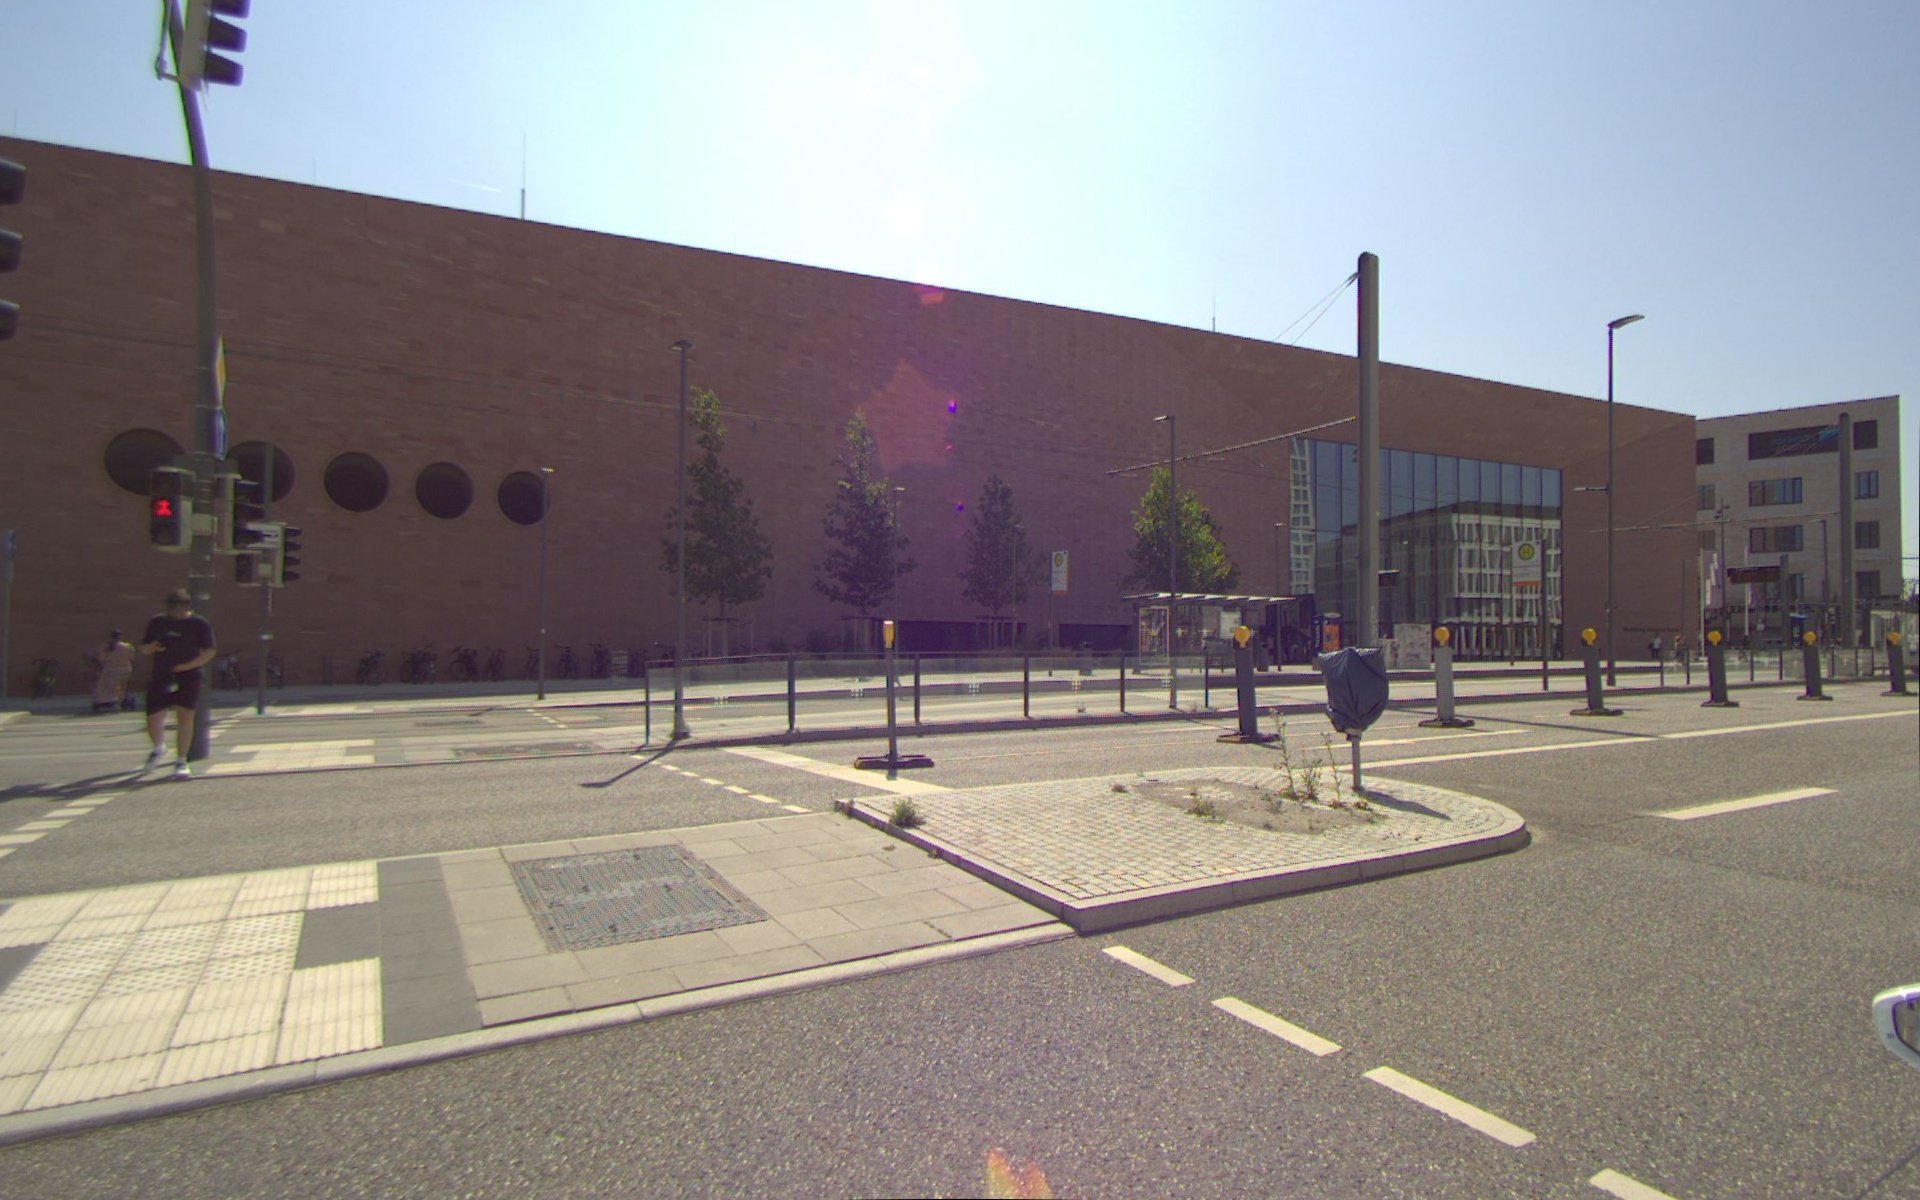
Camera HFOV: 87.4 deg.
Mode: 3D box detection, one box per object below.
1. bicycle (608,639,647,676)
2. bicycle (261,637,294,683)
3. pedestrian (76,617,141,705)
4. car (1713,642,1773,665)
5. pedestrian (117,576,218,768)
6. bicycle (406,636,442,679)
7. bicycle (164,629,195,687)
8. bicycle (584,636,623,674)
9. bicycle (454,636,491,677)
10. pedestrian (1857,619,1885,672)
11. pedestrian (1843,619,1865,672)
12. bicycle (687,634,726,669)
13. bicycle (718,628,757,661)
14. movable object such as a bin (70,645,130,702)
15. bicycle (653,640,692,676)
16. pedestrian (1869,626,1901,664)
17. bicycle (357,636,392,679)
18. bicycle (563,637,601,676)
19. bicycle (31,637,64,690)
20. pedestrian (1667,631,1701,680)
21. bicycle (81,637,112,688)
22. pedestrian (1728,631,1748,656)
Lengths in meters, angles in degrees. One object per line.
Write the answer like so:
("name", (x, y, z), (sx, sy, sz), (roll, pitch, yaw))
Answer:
("bicycle", (-11.545, 1.987, 34.828), (0.535, 1.228, 2.033), (1, -2, -41))
("bicycle", (-19.214, 1.668, 28.267), (0.535, 1.228, 2.033), (1, -2, -41))
("pedestrian", (-15.923, 1.117, 18.790), (0.919, 1.583, 0.790), (-1, -1, 41))
("car", (69.247, 4.719, 88.860), (1.785, 1.839, 3.905), (3, -2, -42))
("pedestrian", (-8.004, 0.706, 10.172), (0.652, 1.858, 0.650), (1, -1, -26))
("bicycle", (-16.391, 1.735, 30.706), (0.535, 1.228, 2.033), (1, -2, -41))
("bicycle", (-20.721, 1.514, 26.647), (0.535, 1.472, 2.033), (1, -2, -41))
("bicycle", (-12.176, 1.852, 34.267), (0.740, 1.228, 1.870), (2, -2, -37))
("bicycle", (-15.387, 1.763, 31.676), (0.535, 1.228, 2.033), (1, -2, -41))
("pedestrian", (32.418, 1.605, 35.763), (0.654, 1.844, 0.721), (0, -1, 36))
("pedestrian", (31.374, 1.579, 35.253), (0.543, 1.844, 0.598), (0, -1, 38))
("bicycle", (-9.313, 1.860, 36.920), (0.535, 1.228, 2.033), (1, -1, -41))
("bicycle", (-8.353, 1.649, 37.614), (0.535, 1.228, 2.033), (1, -2, -41))
("movable object such as a bin", (-16.551, 1.404, 19.335), (0.705, 1.045, 0.790), (-1, -1, 41))
("bicycle", (-10.342, 2.058, 36.132), (0.535, 1.228, 2.033), (1, -2, -41))
("pedestrian", (46.693, 2.270, 50.690), (0.817, 1.915, 0.974), (2, -2, -30))
("bicycle", (-17.346, 1.680, 29.740), (0.535, 1.228, 2.033), (2, -2, -41))
("bicycle", (-12.512, 1.861, 33.215), (0.535, 1.228, 2.033), (1, -2, -41))
("bicycle", (-22.537, 1.543, 24.831), (0.535, 1.228, 2.033), (1, -2, -41))
("pedestrian", (28.015, 2.132, 38.873), (0.815, 1.844, 0.807), (1, -1, -30))
("bicycle", (-21.890, 1.561, 25.447), (0.535, 1.228, 2.032), (1, -2, -42))
("pedestrian", (48.325, 2.699, 62.396), (0.880, 1.592, 0.707), (1, -2, -31))
